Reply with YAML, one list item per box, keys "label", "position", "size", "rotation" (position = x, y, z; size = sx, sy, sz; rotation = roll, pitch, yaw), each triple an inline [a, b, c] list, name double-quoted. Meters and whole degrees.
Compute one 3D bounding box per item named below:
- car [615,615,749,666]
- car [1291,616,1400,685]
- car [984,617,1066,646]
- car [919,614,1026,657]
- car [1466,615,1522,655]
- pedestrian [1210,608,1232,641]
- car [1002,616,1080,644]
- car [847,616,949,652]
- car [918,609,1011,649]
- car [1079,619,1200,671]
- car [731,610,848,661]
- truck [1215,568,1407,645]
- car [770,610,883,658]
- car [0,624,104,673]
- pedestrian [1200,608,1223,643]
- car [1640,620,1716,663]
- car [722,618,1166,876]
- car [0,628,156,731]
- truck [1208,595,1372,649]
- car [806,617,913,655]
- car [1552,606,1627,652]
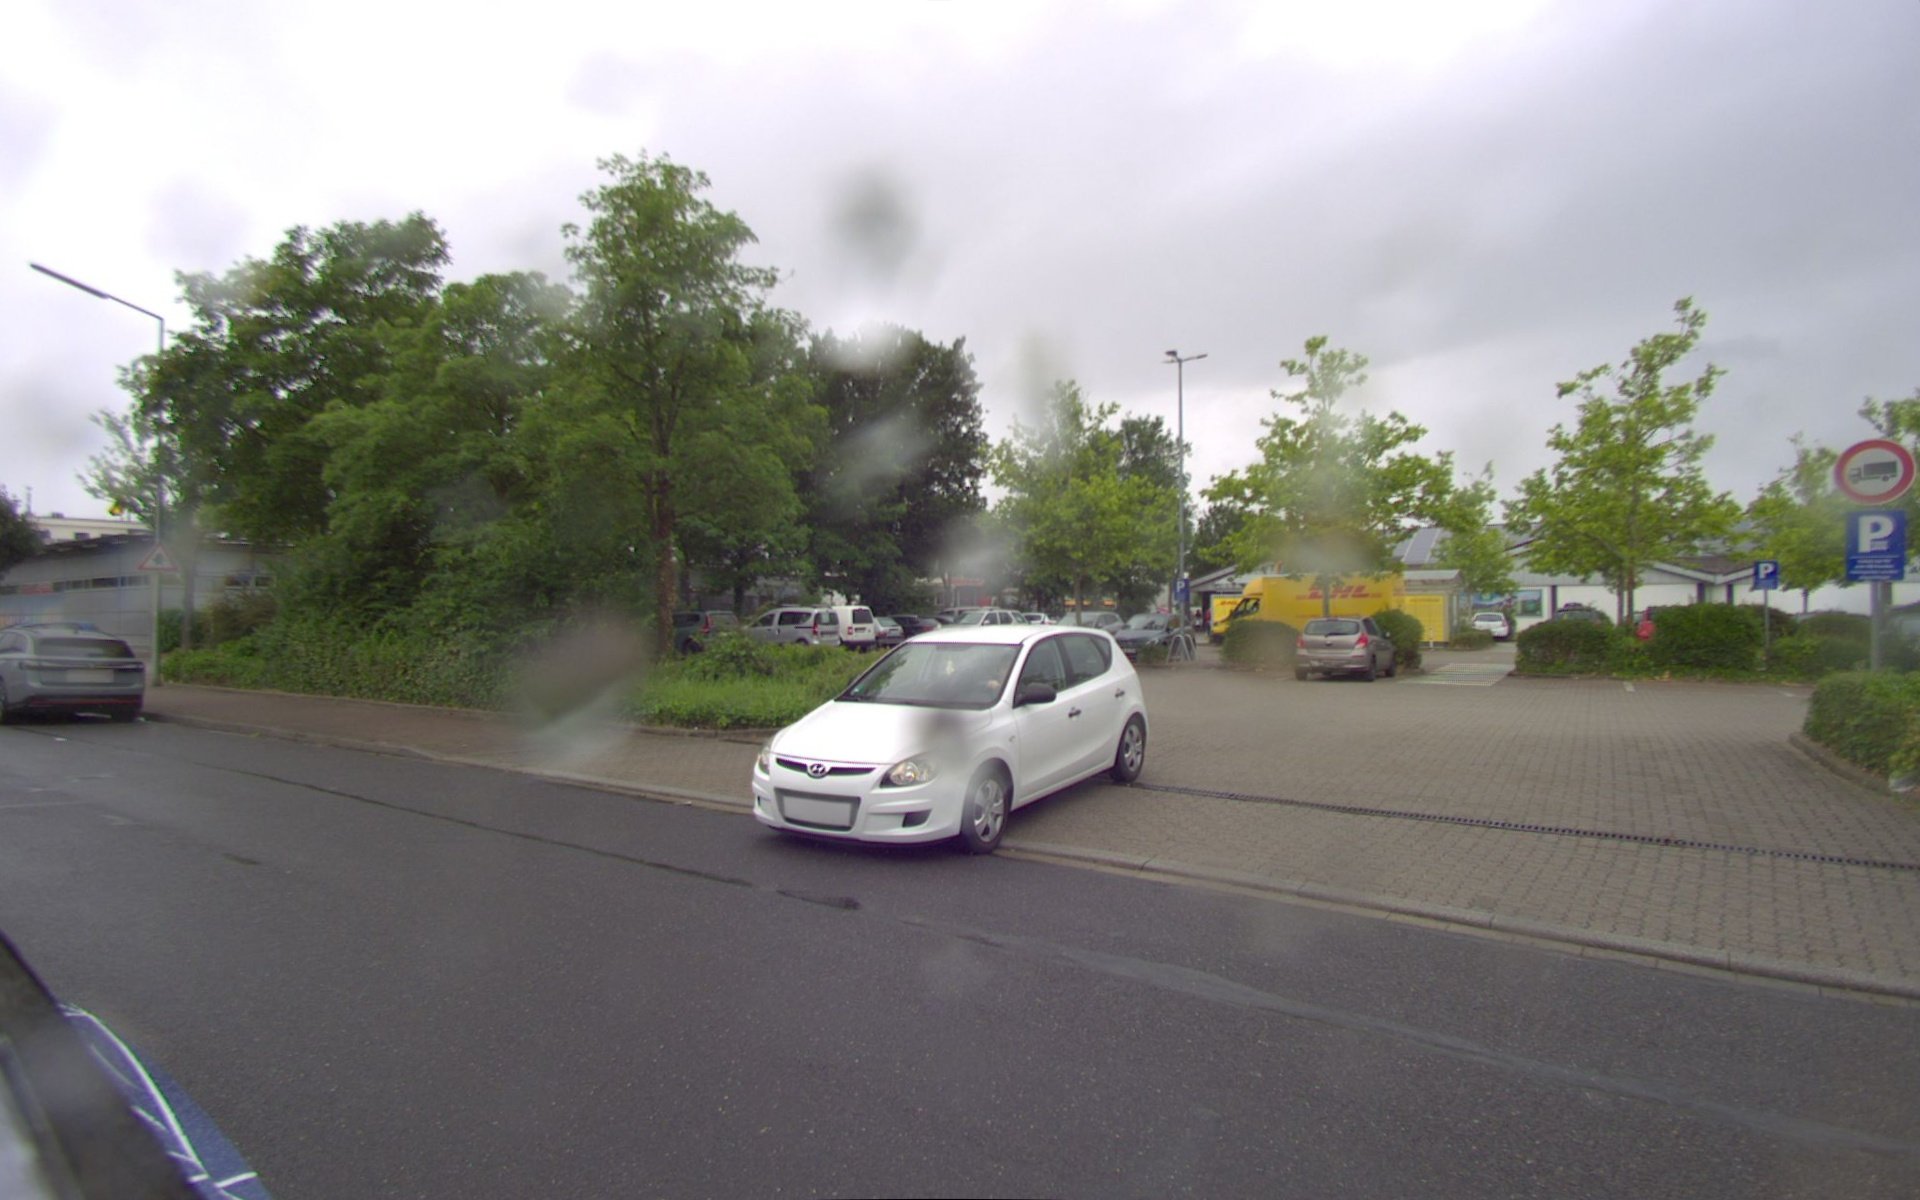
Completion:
- label: "car"
  position: [-9.117, 1.309, 33.188]
  size: [3.978, 1.586, 1.982]
  rotation: [-1, -1, 26]
- label: "car"
  position: [9.212, 1.135, 23.983]
  size: [1.706, 1.471, 4.159]
  rotation: [-1, -2, 31]
- label: "car"
  position: [3.508, 1.693, 54.647]
  size: [3.981, 1.497, 1.981]
  rotation: [-1, -1, 28]
- label: "car"
  position: [0.532, 1.335, 39.201]
  size: [2.024, 1.562, 4.240]
  rotation: [-2, -1, 38]
- label: "car"
  position: [27.794, 1.784, 52.644]
  size: [1.996, 2.029, 3.951]
  rotation: [-1, -1, 36]
- label: "pedestrian"
  position: [15.883, 1.460, 61.462]
  size: [0.909, 1.977, 1.293]
  rotation: [-1, -2, 34]
- label: "car"
  position: [4.571, 1.689, 57.063]
  size: [3.981, 1.497, 1.981]
  rotation: [-1, -1, 28]
- label: "car"
  position: [-2.705, 1.442, 43.989]
  size: [3.981, 1.497, 1.981]
  rotation: [-1, -1, 28]
- label: "car"
  position: [0.195, 1.380, 48.020]
  size: [3.981, 1.829, 1.981]
  rotation: [-1, -1, 28]
- label: "car"
  position: [5.418, 1.304, 30.287]
  size: [1.997, 1.431, 3.950]
  rotation: [-1, -1, 37]
- label: "car"
  position: [-6.374, 1.320, 37.790]
  size: [3.981, 1.807, 1.981]
  rotation: [-1, -1, 28]
- label: "truck"
  position: [12.804, 0.302, 37.205]
  size: [6.382, 2.621, 1.976]
  rotation: [-1, -2, 36]
- label: "car"
  position: [-5.223, 1.320, 39.533]
  size: [3.981, 1.807, 1.981]
  rotation: [-1, -1, 28]
- label: "car"
  position: [-29.116, 1.490, 31.109]
  size: [1.731, 1.452, 3.955]
  rotation: [-2, -2, 33]
- label: "pedestrian"
  position: [14.481, 1.466, 58.241]
  size: [0.909, 1.977, 1.293]
  rotation: [-1, -2, 34]
- label: "car"
  position: [24.544, 1.371, 34.634]
  size: [1.996, 1.356, 3.951]
  rotation: [-1, -1, 36]
- label: "car"
  position: [0.160, 0.925, 8.297]
  size: [1.706, 1.471, 4.160]
  rotation: [-1, -1, 31]
- label: "car"
  position: [-15.773, 1.289, 17.227]
  size: [4.734, 1.540, 1.794]
  rotation: [-1, -5, 33]
- label: "truck"
  position: [13.510, 0.920, 41.627]
  size: [6.114, 2.110, 1.978]
  rotation: [-1, -1, 32]
- label: "car"
  position: [-4.149, 1.448, 41.655]
  size: [3.981, 1.497, 1.981]
  rotation: [-1, -1, 28]
- label: "car"
  position: [22.622, 1.018, 36.315]
  size: [1.996, 1.533, 3.951]
  rotation: [-1, -2, 36]
